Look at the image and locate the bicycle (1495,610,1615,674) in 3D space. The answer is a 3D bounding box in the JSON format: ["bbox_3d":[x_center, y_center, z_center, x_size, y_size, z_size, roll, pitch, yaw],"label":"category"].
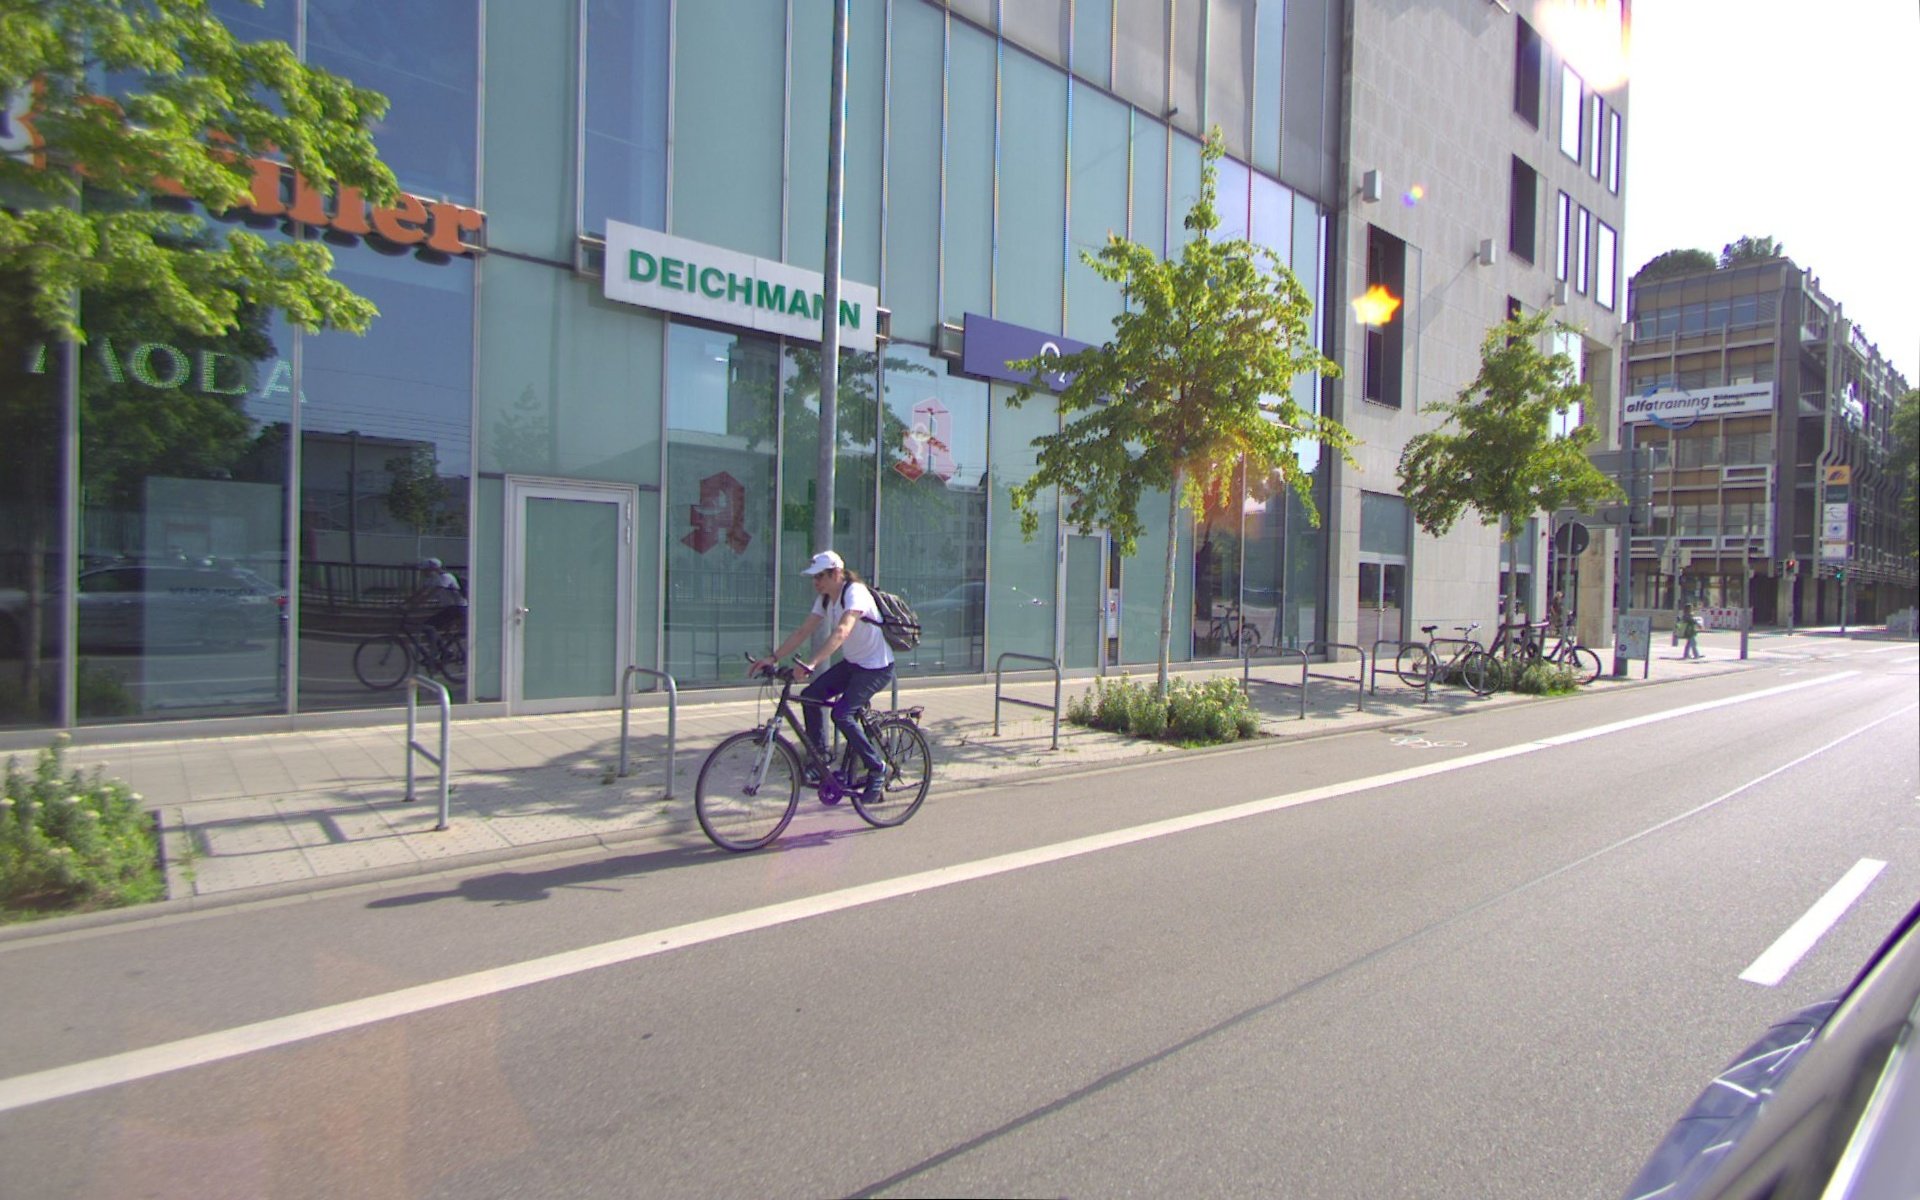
[{"bbox_3d":[11.253,0.770,19.195,0.674,1.127,1.844,1,-1,-38],"label":"bicycle"}]

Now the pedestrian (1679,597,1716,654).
[{"bbox_3d":[19.983,0.679,27.422,0.708,1.506,0.595,2,0,44],"label":"pedestrian"}]

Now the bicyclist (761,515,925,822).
[{"bbox_3d":[-0.733,0.390,6.324,0.755,1.771,0.653,1,0,-38],"label":"bicyclist"}]

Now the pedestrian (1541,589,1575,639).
[{"bbox_3d":[21.300,0.489,36.038,0.970,1.733,0.645,1,0,-32],"label":"pedestrian"}]

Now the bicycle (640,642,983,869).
[{"bbox_3d":[-0.858,0.861,6.243,2.013,1.131,0.663,1,1,-38],"label":"bicycle"}]

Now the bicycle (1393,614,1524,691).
[{"bbox_3d":[8.116,0.825,16.548,0.481,1.123,1.883,1,1,-38],"label":"bicycle"}]

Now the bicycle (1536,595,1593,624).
[{"bbox_3d":[23.460,0.356,39.303,0.601,1.030,1.806,1,1,-39],"label":"bicycle"}]

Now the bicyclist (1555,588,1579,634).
[{"bbox_3d":[23.526,0.430,39.223,0.572,1.759,0.636,1,0,-40],"label":"bicyclist"}]
